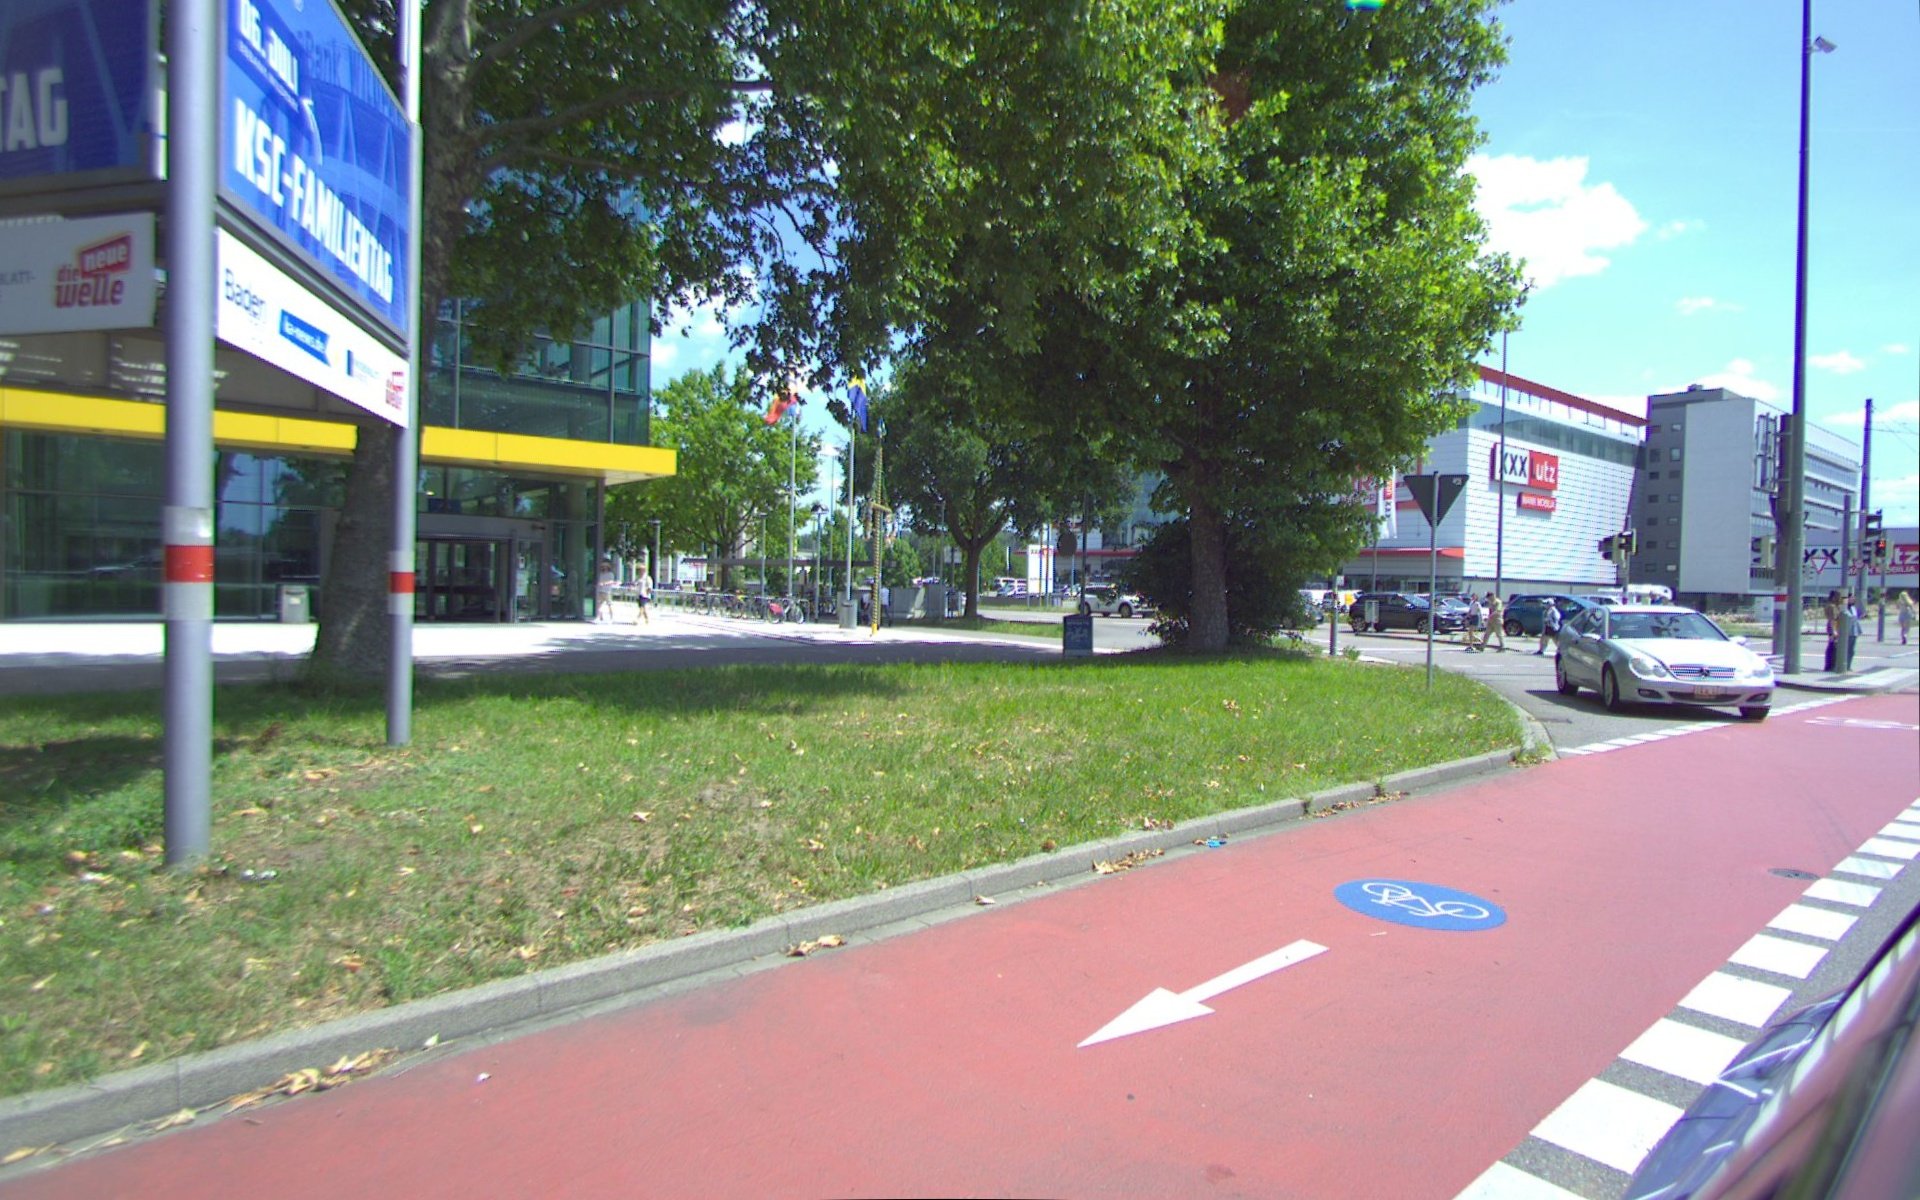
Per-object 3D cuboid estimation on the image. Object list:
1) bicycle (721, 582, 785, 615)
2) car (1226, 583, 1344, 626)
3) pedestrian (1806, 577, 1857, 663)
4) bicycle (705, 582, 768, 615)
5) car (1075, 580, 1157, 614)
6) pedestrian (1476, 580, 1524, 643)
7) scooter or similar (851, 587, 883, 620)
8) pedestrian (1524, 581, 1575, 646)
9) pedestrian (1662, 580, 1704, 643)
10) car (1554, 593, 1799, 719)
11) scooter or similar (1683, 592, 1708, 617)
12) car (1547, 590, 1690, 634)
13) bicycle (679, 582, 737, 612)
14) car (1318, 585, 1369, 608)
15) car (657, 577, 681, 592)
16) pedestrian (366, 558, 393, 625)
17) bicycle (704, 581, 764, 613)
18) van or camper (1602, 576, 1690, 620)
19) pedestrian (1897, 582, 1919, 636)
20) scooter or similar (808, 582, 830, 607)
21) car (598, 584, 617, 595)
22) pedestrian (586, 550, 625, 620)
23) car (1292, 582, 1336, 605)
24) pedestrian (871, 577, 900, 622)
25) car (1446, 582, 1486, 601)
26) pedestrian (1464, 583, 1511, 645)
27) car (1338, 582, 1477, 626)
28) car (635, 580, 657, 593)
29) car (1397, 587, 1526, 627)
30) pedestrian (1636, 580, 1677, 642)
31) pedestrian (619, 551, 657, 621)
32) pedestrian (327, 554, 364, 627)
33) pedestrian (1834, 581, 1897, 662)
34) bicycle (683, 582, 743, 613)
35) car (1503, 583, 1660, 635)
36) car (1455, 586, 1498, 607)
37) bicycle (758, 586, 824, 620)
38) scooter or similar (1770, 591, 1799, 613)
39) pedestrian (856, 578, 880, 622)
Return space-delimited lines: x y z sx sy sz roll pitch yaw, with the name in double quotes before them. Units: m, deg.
"bicycle" -7.742 -0.065 37.936 0.798 1.214 2.400 1 1 37
"car" 13.400 0.151 41.928 1.828 1.603 4.415 -3 2 -35
"pedestrian" 17.772 0.391 20.631 0.614 1.704 0.724 0 0 -43
"bicycle" -8.459 -0.069 38.408 0.798 1.214 2.400 1 1 37
"car" 8.159 -0.182 53.312 1.963 1.660 4.080 0 1 -37
"pedestrian" 14.535 0.291 27.247 0.834 1.680 0.799 0 0 -22
"scooter or similar" -3.508 0.124 38.189 0.716 1.213 1.076 0 1 -40
"pedestrian" 15.390 0.345 26.446 0.834 1.680 0.799 0 0 -9
"pedestrian" 19.429 0.290 27.203 0.846 1.658 0.608 -2 1 -28
"car" 9.767 0.643 14.188 1.711 1.436 4.293 0 1 20
"scooter or similar" 39.441 0.237 54.275 1.252 1.307 0.481 0 0 -20
"car" 22.976 0.386 35.404 1.771 1.414 3.834 0 1 -38
"bicycle" -10.433 -0.148 41.976 0.798 1.214 2.400 1 1 37
"car" 34.791 -0.320 91.671 4.873 2.039 1.999 -1 1 -37
"car" -41.482 -2.234 144.283 1.963 2.039 3.998 0 1 -37
"pedestrian" -14.725 -0.220 25.680 0.574 1.693 0.608 0 0 -30
"bicycle" -8.936 -0.144 40.087 0.798 1.214 2.400 1 1 37
"van or camper" 48.418 -0.186 71.349 7.470 2.983 2.717 -1 1 -35
"pedestrian" 28.398 0.261 30.203 0.600 1.599 0.529 0 0 -35
"scooter or similar" -7.426 -0.293 53.317 1.114 1.336 0.402 0 1 -37
"car" -51.899 -1.557 148.899 1.729 1.632 3.547 0 1 -37
"pedestrian" -10.447 -0.441 29.833 0.725 2.039 0.793 1 0 25
"car" 32.669 -0.613 93.374 3.926 2.039 1.999 -1 1 -37
"pedestrian" -2.758 -0.025 37.347 0.623 1.606 0.918 0 1 -44
"car" 54.365 -0.906 108.712 4.436 1.946 1.999 -1 1 -37
"pedestrian" 14.703 0.379 28.202 0.834 1.680 0.799 0 0 -22
"car" 16.637 0.209 37.795 1.819 1.462 4.409 3 -4 -38
"car" -47.425 -2.046 152.609 1.963 2.039 3.998 0 1 -37
"car" 19.545 0.233 39.631 1.768 1.415 4.237 0 1 -31
"pedestrian" 19.080 0.287 27.725 0.846 1.658 0.605 -2 1 -28
"pedestrian" -9.621 -0.426 30.265 0.725 2.039 0.793 1 0 24
"pedestrian" -15.254 -0.239 25.140 0.726 1.757 0.784 0 1 -28
"pedestrian" 18.630 0.420 20.829 0.755 1.626 0.894 0 1 -43
"bicycle" -9.968 -0.103 40.872 0.798 1.214 2.400 1 1 37
"car" 20.480 0.252 33.486 1.962 1.575 4.000 -1 1 -35
"car" 49.632 -0.366 97.176 4.436 1.918 1.999 -1 1 -37
"bicycle" -5.931 0.076 35.701 0.798 1.159 2.400 1 1 37
"scooter or similar" 45.328 0.111 55.620 1.253 1.140 0.481 -4 1 -10
"pedestrian" -3.372 -0.019 37.176 0.623 1.606 0.610 0 1 -44
